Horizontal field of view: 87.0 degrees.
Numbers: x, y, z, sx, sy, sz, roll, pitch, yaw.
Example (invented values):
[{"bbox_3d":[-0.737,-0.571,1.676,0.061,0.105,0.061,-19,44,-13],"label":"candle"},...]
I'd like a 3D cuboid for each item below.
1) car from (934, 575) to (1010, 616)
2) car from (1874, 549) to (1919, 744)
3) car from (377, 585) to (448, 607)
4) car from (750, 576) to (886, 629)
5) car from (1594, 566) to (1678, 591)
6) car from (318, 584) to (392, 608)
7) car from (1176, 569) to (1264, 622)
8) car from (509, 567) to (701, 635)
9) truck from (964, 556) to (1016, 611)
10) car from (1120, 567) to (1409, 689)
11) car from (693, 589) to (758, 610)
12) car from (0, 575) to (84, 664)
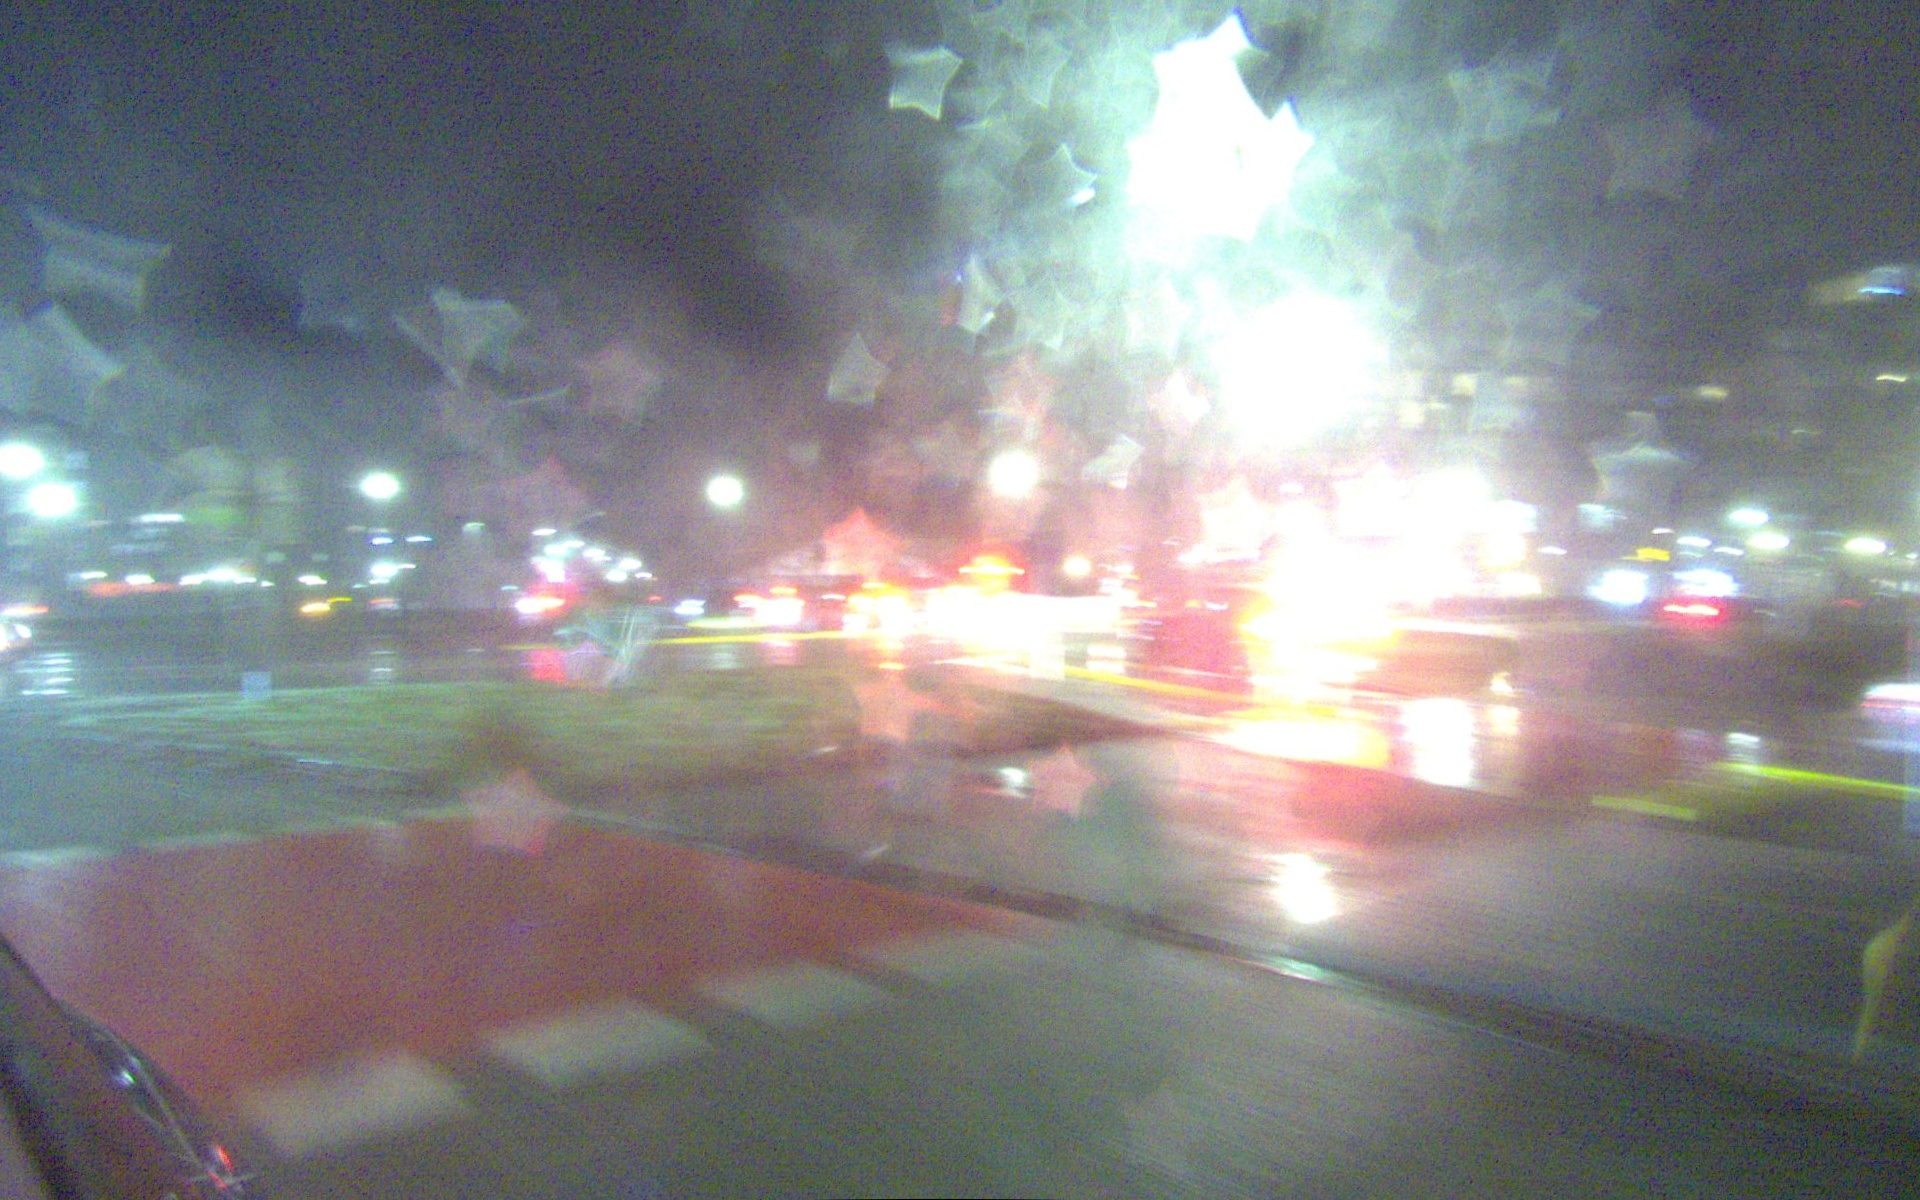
[{"bbox_3d":[0.552,-0.216,41.107,1.983,1.544,4.162,1,1,17],"label":"car"},{"bbox_3d":[8.918,0.444,6.303,1.965,1.466,4.318,4,0,-25],"label":"car"},{"bbox_3d":[-39.524,-0.300,73.154,4.133,1.477,1.997,0,1,5],"label":"car"},{"bbox_3d":[-4.429,0.033,32.015,1.996,1.544,4.136,1,1,35],"label":"car"},{"bbox_3d":[45.230,-1.439,67.744,4.361,1.634,2.004,0,1,-8],"label":"car"},{"bbox_3d":[-39.877,-0.298,66.744,4.115,1.477,2.006,-1,1,-33],"label":"car"},{"bbox_3d":[9.456,-0.204,36.648,1.994,1.788,3.957,0,1,32],"label":"car"},{"bbox_3d":[-9.279,-0.009,26.578,4.360,1.634,2.004,0,1,-37],"label":"car"},{"bbox_3d":[1.398,-0.787,48.758,2.291,2.414,7.810,0,1,1],"label":"truck"},{"bbox_3d":[4.567,0.337,16.083,2.034,1.634,4.649,0,1,-19],"label":"car"},{"bbox_3d":[-16.658,-0.054,72.033,4.133,1.477,1.997,0,1,5],"label":"car"},{"bbox_3d":[-18.181,0.329,17.374,4.566,1.477,1.650,-1,1,-8],"label":"car"}]
